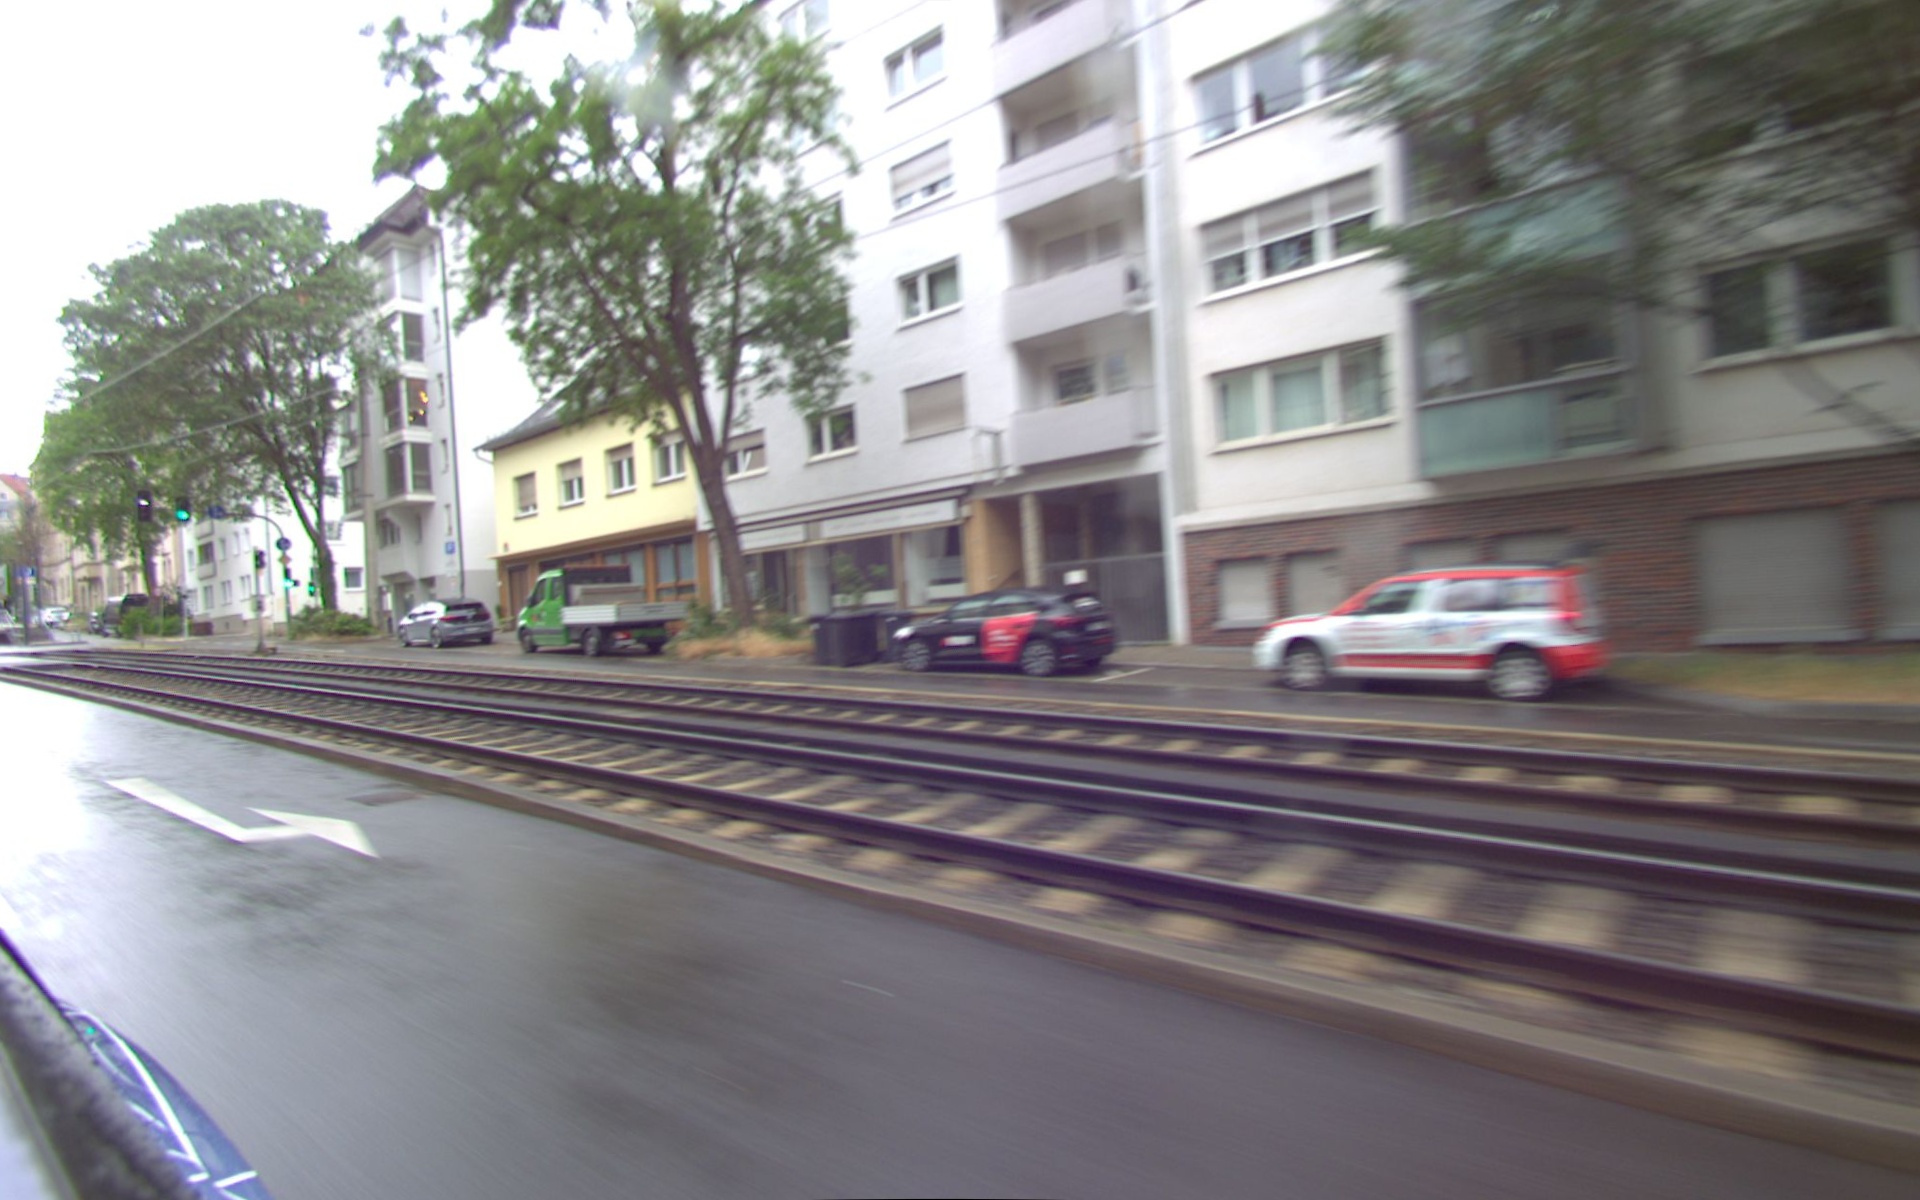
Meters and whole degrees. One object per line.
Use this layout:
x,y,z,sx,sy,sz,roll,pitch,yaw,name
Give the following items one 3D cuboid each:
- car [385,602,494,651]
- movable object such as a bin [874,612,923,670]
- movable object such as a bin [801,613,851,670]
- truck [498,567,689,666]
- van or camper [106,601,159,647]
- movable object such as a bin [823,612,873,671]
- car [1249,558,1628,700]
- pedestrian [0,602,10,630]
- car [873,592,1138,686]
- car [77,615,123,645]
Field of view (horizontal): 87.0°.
-17.530,0.897,34.007,4.358,1.471,1.687,-2,1,41,car
-1.221,0.806,20.210,0.670,1.130,0.718,-2,-1,35,movable object such as a bin
-2.720,0.831,20.556,0.670,1.130,0.718,-2,-1,35,movable object such as a bin
-9.995,0.381,27.268,6.352,2.363,2.168,0,0,43,truck
-53.797,1.523,65.761,5.212,2.819,1.972,-1,-1,43,van or camper
-2.215,0.822,20.058,0.670,1.130,0.718,-2,-1,35,movable object such as a bin
6.142,0.353,13.250,4.155,1.581,1.758,-2,0,40,car
-61.103,1.035,64.223,0.965,1.796,1.106,-2,0,40,pedestrian
0.715,0.647,17.977,4.465,1.451,1.887,-2,0,40,car
-61.009,2.096,71.786,3.999,2.029,1.972,-2,0,42,car
